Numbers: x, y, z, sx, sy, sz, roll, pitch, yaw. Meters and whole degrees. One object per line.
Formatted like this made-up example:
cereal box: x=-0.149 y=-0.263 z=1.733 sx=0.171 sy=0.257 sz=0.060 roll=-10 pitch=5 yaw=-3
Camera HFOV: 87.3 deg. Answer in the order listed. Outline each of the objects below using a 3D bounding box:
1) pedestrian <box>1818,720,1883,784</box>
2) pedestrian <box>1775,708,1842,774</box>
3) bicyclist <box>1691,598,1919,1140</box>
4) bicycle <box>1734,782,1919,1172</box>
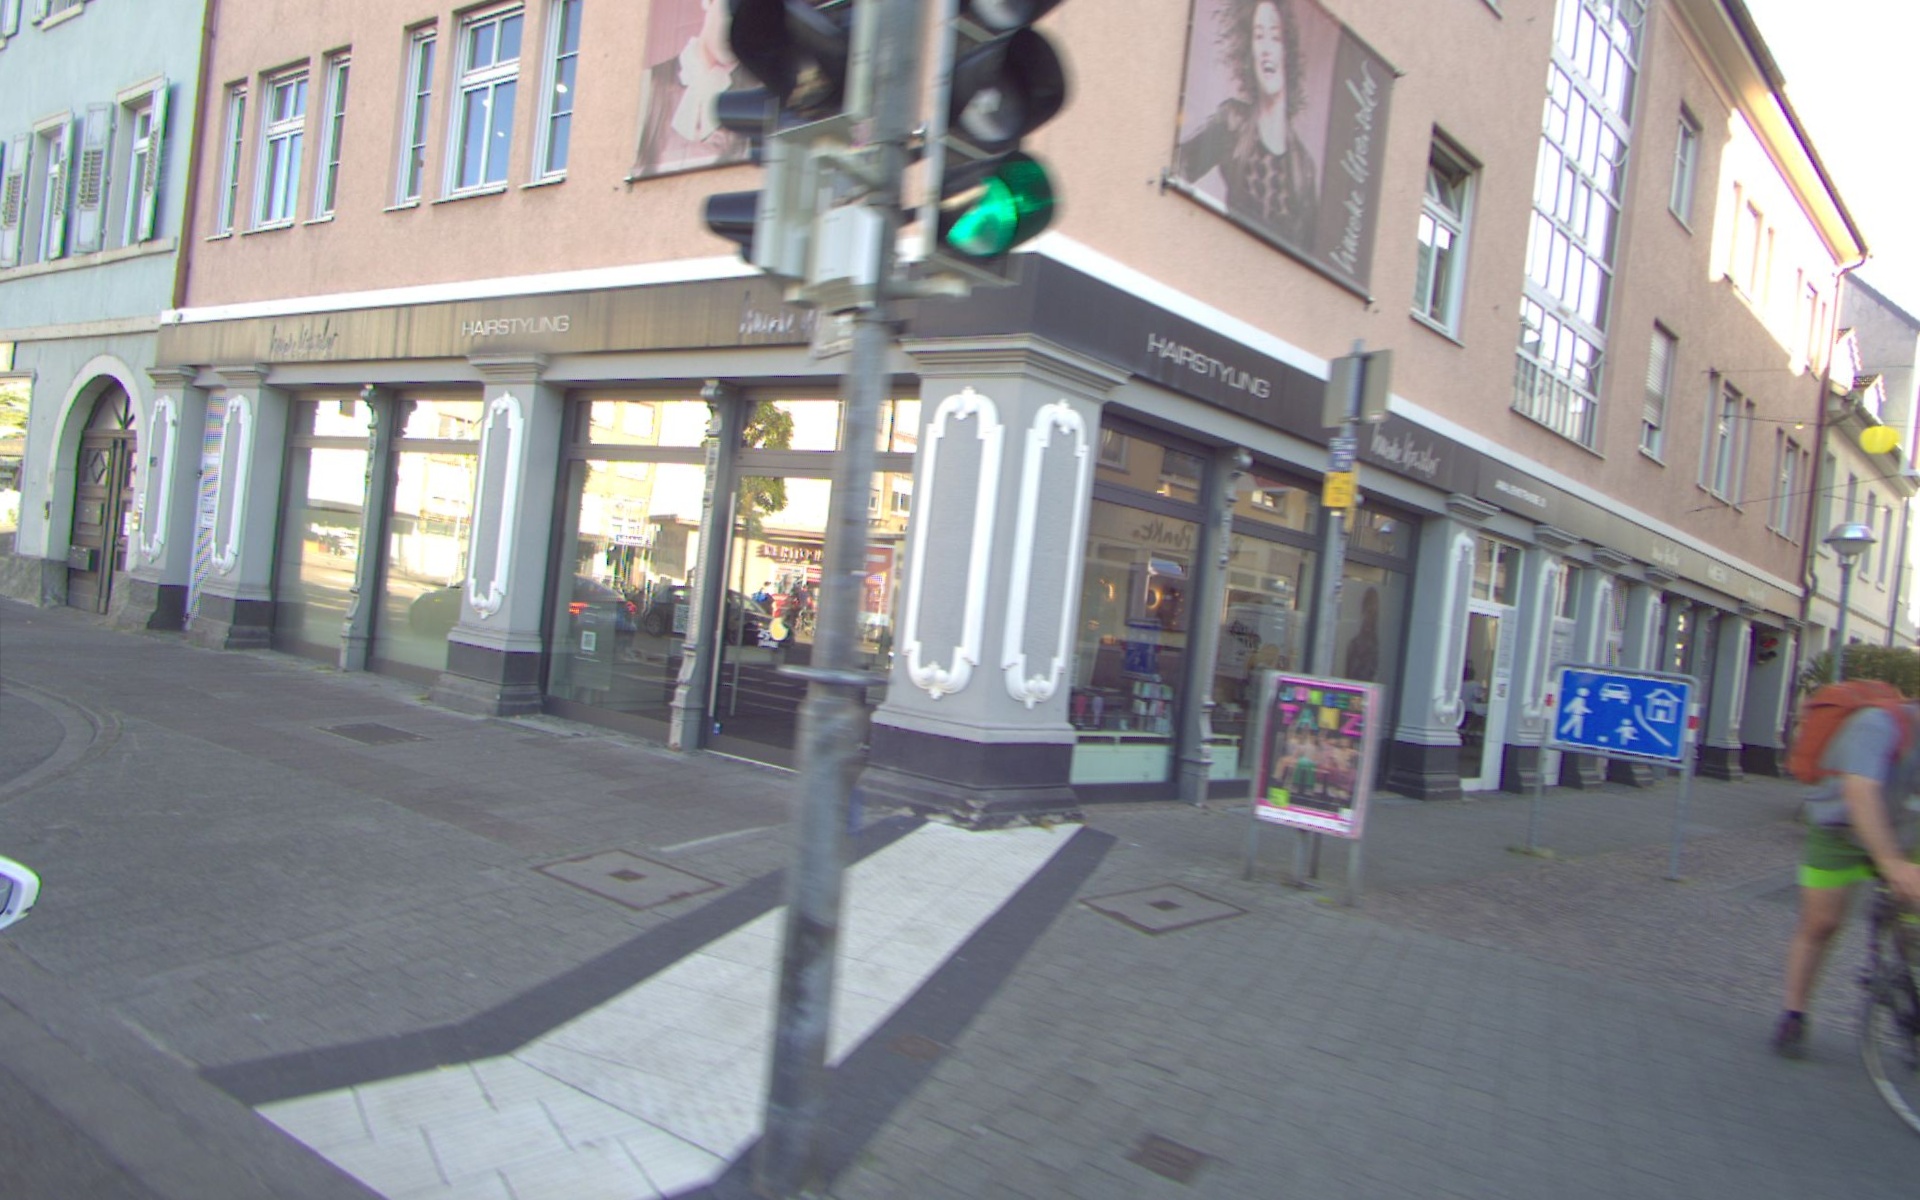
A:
pedestrian: x=19.043 y=3.232 z=21.521 sx=1.120 sy=1.207 sz=0.810 roll=6 pitch=1 yaw=-41
pedestrian: x=18.702 y=3.086 z=22.185 sx=0.758 sy=1.266 sz=0.819 roll=6 pitch=1 yaw=18
bicyclist: x=3.589 y=0.935 z=3.815 sx=0.739 sy=1.783 sz=1.142 roll=6 pitch=1 yaw=11
bicycle: x=3.627 y=1.347 z=3.839 sx=0.554 sy=1.006 sz=1.820 roll=7 pitch=0 yaw=24
